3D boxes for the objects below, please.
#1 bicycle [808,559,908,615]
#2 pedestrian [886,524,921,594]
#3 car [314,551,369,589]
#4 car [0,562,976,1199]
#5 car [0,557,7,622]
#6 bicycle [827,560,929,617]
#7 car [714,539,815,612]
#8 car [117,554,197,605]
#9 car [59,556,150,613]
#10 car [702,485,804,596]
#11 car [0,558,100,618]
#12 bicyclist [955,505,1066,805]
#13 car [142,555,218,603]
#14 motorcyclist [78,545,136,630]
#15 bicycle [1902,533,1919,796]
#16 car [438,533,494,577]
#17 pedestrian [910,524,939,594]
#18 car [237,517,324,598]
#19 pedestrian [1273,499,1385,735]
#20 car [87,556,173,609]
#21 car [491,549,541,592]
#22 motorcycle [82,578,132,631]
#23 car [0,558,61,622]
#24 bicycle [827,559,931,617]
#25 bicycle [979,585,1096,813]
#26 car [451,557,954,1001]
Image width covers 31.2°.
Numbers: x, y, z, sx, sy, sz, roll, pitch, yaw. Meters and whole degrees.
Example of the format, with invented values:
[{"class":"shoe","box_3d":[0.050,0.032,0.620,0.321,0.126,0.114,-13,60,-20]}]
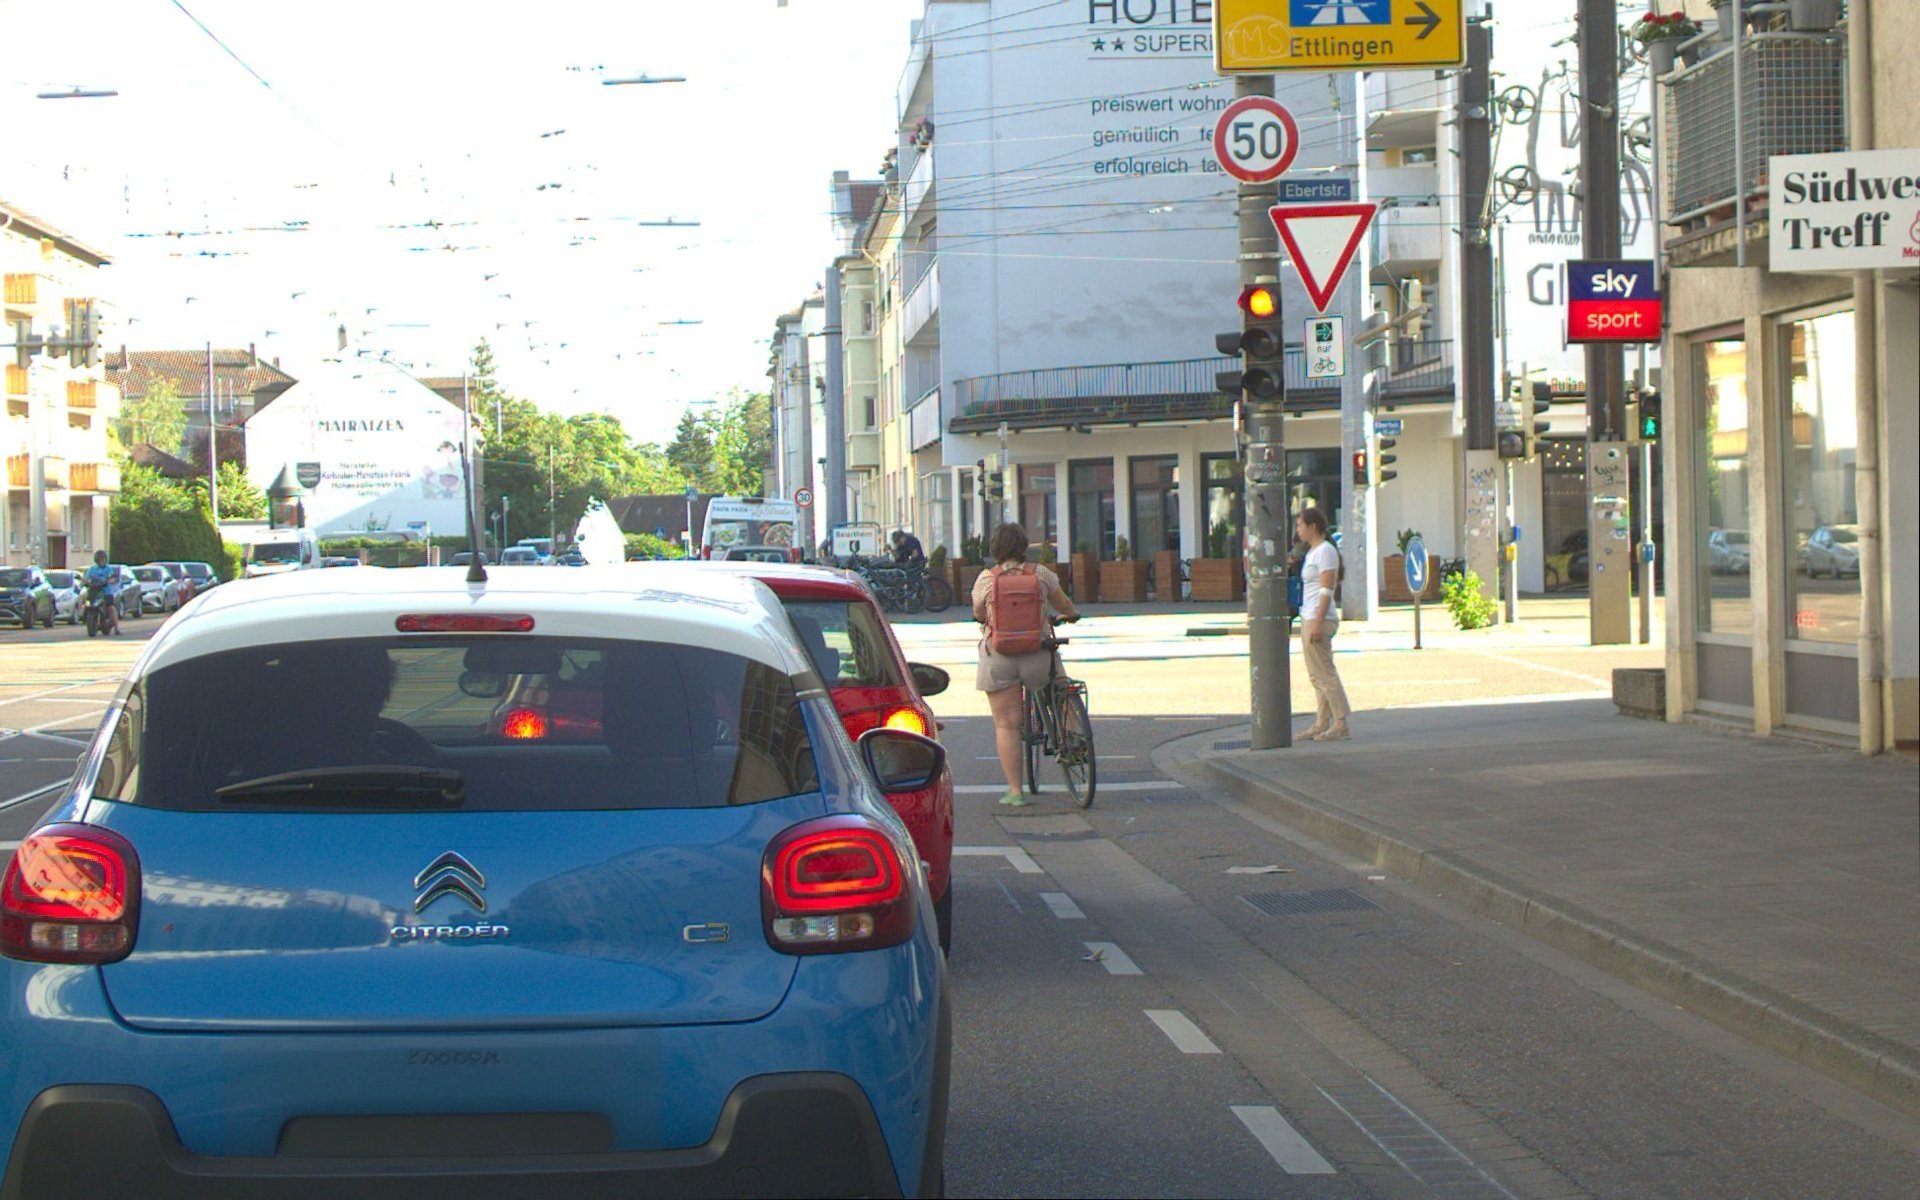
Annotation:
[{"class":"bicycle","box_3d":[-2.024,-0.269,68.313,1.904,1.061,0.642,-1,1,-7]},{"class":"pedestrian","box_3d":[-1.151,-0.840,70.258,0.525,1.415,0.546,-1,1,20]},{"class":"car","box_3d":[-25.976,-1.278,144.568,1.950,1.514,4.001,-1,1,-6]},{"class":"car","box_3d":[-0.956,0.673,7.375,1.680,1.457,4.001,0,1,-4]},{"class":"car","box_3d":[-23.319,-0.193,79.224,1.950,1.514,4.001,-1,1,-6]},{"class":"bicycle","box_3d":[-1.605,-0.231,67.120,1.904,1.061,0.642,-1,1,-7]},{"class":"car","box_3d":[-3.880,-0.510,67.805,1.786,1.354,3.915,-1,1,-6]},{"class":"car","box_3d":[-25.358,-0.671,108.657,1.950,1.514,4.001,-1,1,-6]},{"class":"car","box_3d":[-24.458,-0.456,98.374,1.950,1.514,4.001,-1,1,-6]},{"class":"car","box_3d":[-4.430,-1.272,73.241,2.079,2.262,5.652,0,1,-4]},{"class":"car","box_3d":[-24.305,-0.334,91.947,1.950,1.514,4.001,-1,1,-6]},{"class":"bicyclist","box_3d":[0.293,0.308,20.600,0.600,1.740,1.084,-1,1,-1]},{"class":"car","box_3d":[-26.068,-0.720,114.999,1.950,1.514,4.001,-1,1,-6]},{"class":"motorcyclist","box_3d":[-16.673,-0.250,67.213,0.991,1.625,0.739,-1,1,-9]},{"class":"bicycle","box_3d":[4.916,0.319,15.753,0.640,1.260,1.911,-1,1,-1]},{"class":"car","box_3d":[-18.802,-1.724,130.986,2.004,1.622,5.054,-1,1,-7]},{"class":"pedestrian","box_3d":[-0.718,-0.842,70.007,0.467,1.415,0.527,-1,1,-13]},{"class":"car","box_3d":[-23.661,-1.501,119.935,2.493,2.703,5.839,-1,1,-7]},{"class":"pedestrian","box_3d":[2.610,0.112,24.375,0.751,1.629,0.740,-1,1,6]},{"class":"car","box_3d":[-24.925,-0.540,103.378,1.950,1.514,4.001,-1,1,-6]},{"class":"car","box_3d":[-22.045,-1.496,170.840,2.338,2.032,5.051,-1,1,-6]},{"class":"motorcycle","box_3d":[-16.693,0.075,67.286,0.751,0.973,2.098,-1,1,-9]},{"class":"car","box_3d":[-23.784,-0.266,85.889,1.950,1.514,4.001,-1,1,-6]},{"class":"bicycle","box_3d":[-1.556,-0.237,65.814,1.904,1.061,0.642,-1,1,-7]},{"class":"bicycle","box_3d":[0.450,0.564,20.642,0.613,1.260,1.911,-1,1,-1]},{"class":"car","box_3d":[-1.003,0.582,13.585,1.680,1.457,4.001,0,1,-4]}]
